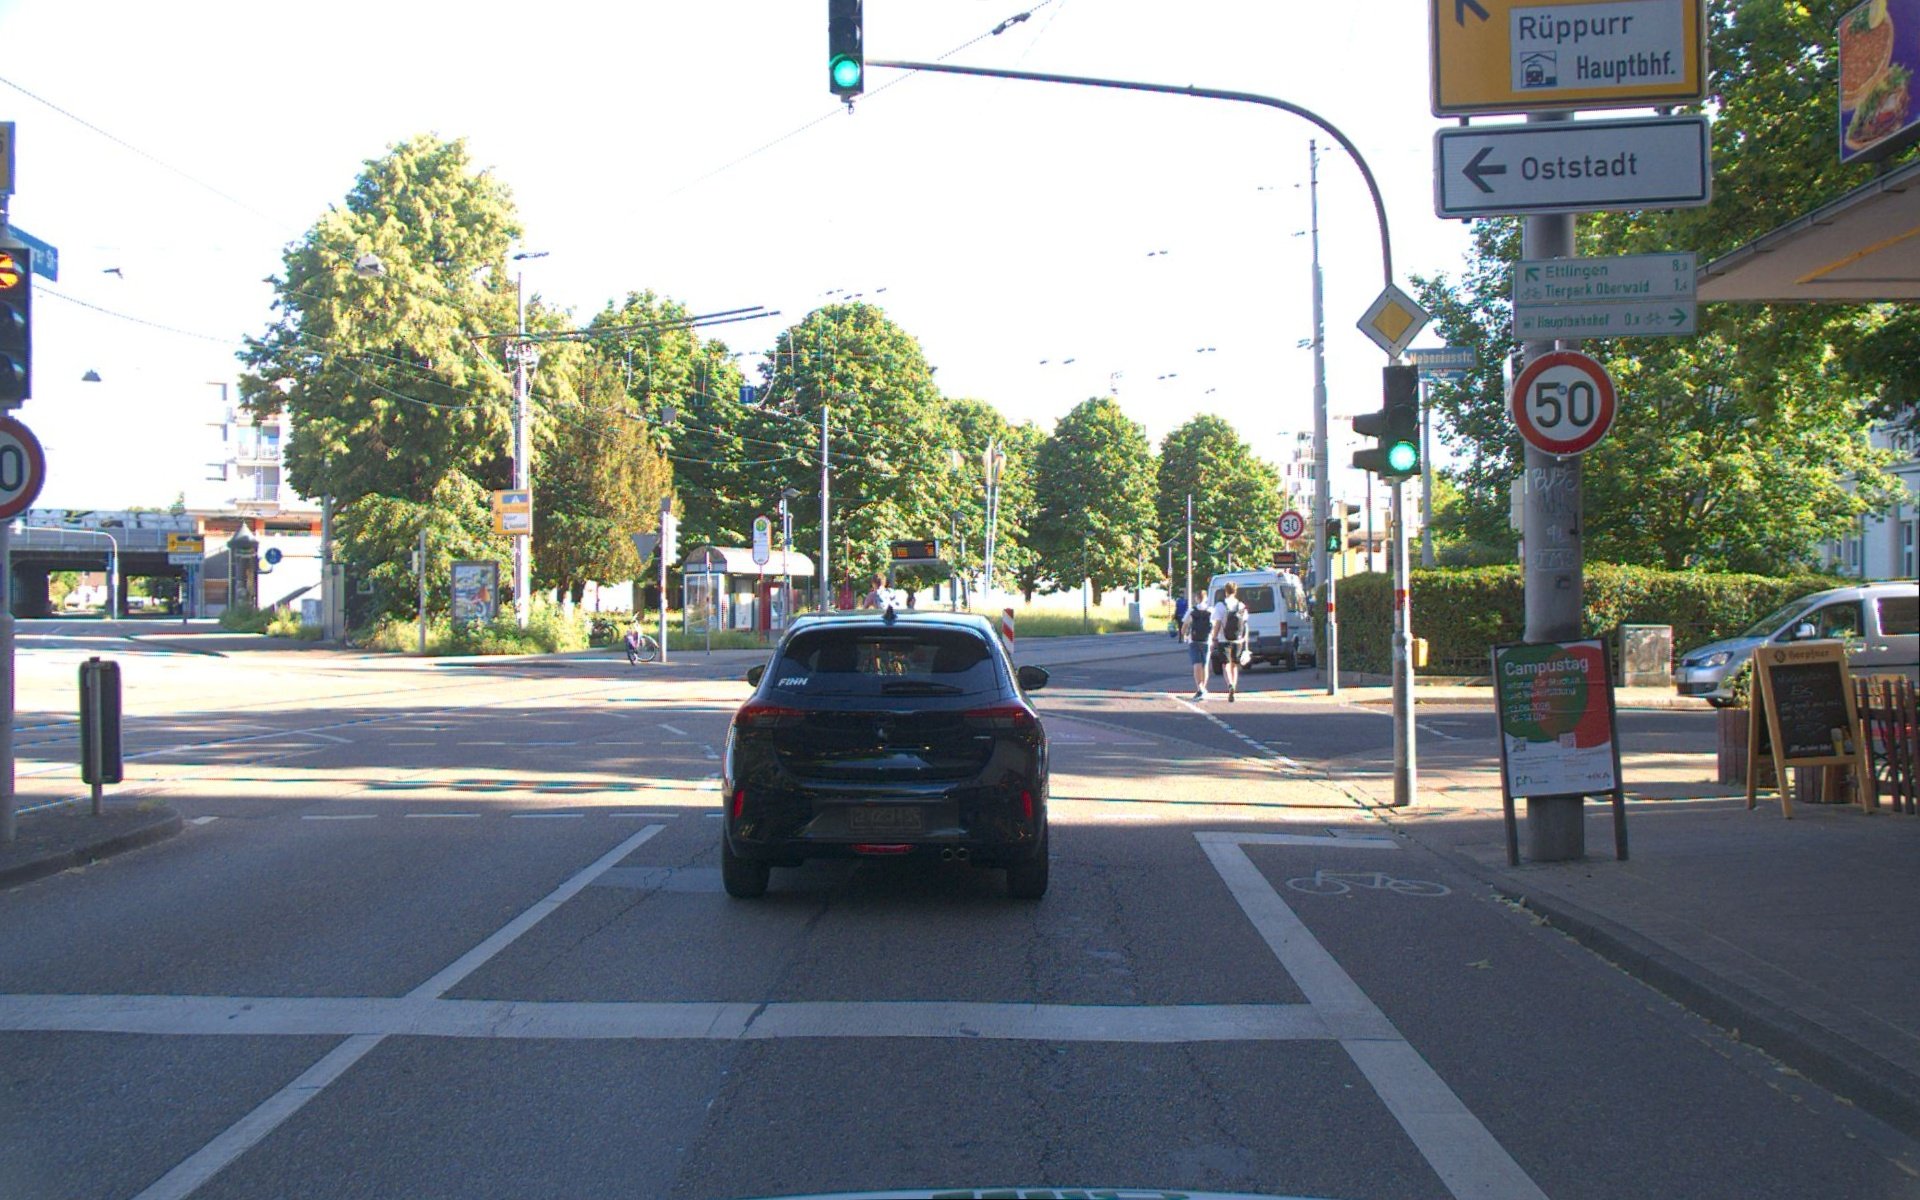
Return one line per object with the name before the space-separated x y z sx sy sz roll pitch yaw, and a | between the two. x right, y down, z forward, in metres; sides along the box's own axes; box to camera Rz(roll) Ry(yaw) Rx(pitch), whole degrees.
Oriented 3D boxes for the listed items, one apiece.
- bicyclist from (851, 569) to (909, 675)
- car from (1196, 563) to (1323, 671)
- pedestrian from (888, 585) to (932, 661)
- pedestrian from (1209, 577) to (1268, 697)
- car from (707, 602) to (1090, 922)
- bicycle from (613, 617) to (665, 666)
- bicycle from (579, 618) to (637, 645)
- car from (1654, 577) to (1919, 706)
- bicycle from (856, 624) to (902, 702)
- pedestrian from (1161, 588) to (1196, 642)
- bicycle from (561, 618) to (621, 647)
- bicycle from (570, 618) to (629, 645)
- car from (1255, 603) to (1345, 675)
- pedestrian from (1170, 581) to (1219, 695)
bicyclist | -1.202 0.317 24.594 0.823 1.536 1.367 0 0 -4
car | 6.958 0.400 38.074 2.047 2.317 4.305 1 -1 22
pedestrian | -1.136 0.513 37.747 0.715 1.722 0.696 0 0 42
pedestrian | 4.447 0.585 26.420 0.691 1.879 0.698 0 0 37
car | -0.311 0.746 9.607 1.764 1.466 3.939 0 0 -1
bicycle | -7.365 0.942 38.036 0.808 1.078 1.883 0 0 0
bicycle | -12.106 1.073 56.897 1.837 0.922 0.660 0 0 5
car | 12.768 0.644 24.648 4.087 1.846 1.807 0 -3 6
bicycle | -1.196 0.914 24.633 0.654 1.078 2.081 0 0 -2
pedestrian | 7.437 0.507 56.268 0.939 1.824 0.995 0 -1 23
bicycle | -12.267 1.080 55.033 1.837 0.922 0.660 0 0 5
bicycle | -12.215 1.061 56.021 1.837 0.922 0.660 0 0 5
car | 9.020 0.978 43.682 1.763 1.794 3.892 0 0 20
pedestrian | 3.805 0.605 26.862 0.684 1.823 0.617 0 0 -3
